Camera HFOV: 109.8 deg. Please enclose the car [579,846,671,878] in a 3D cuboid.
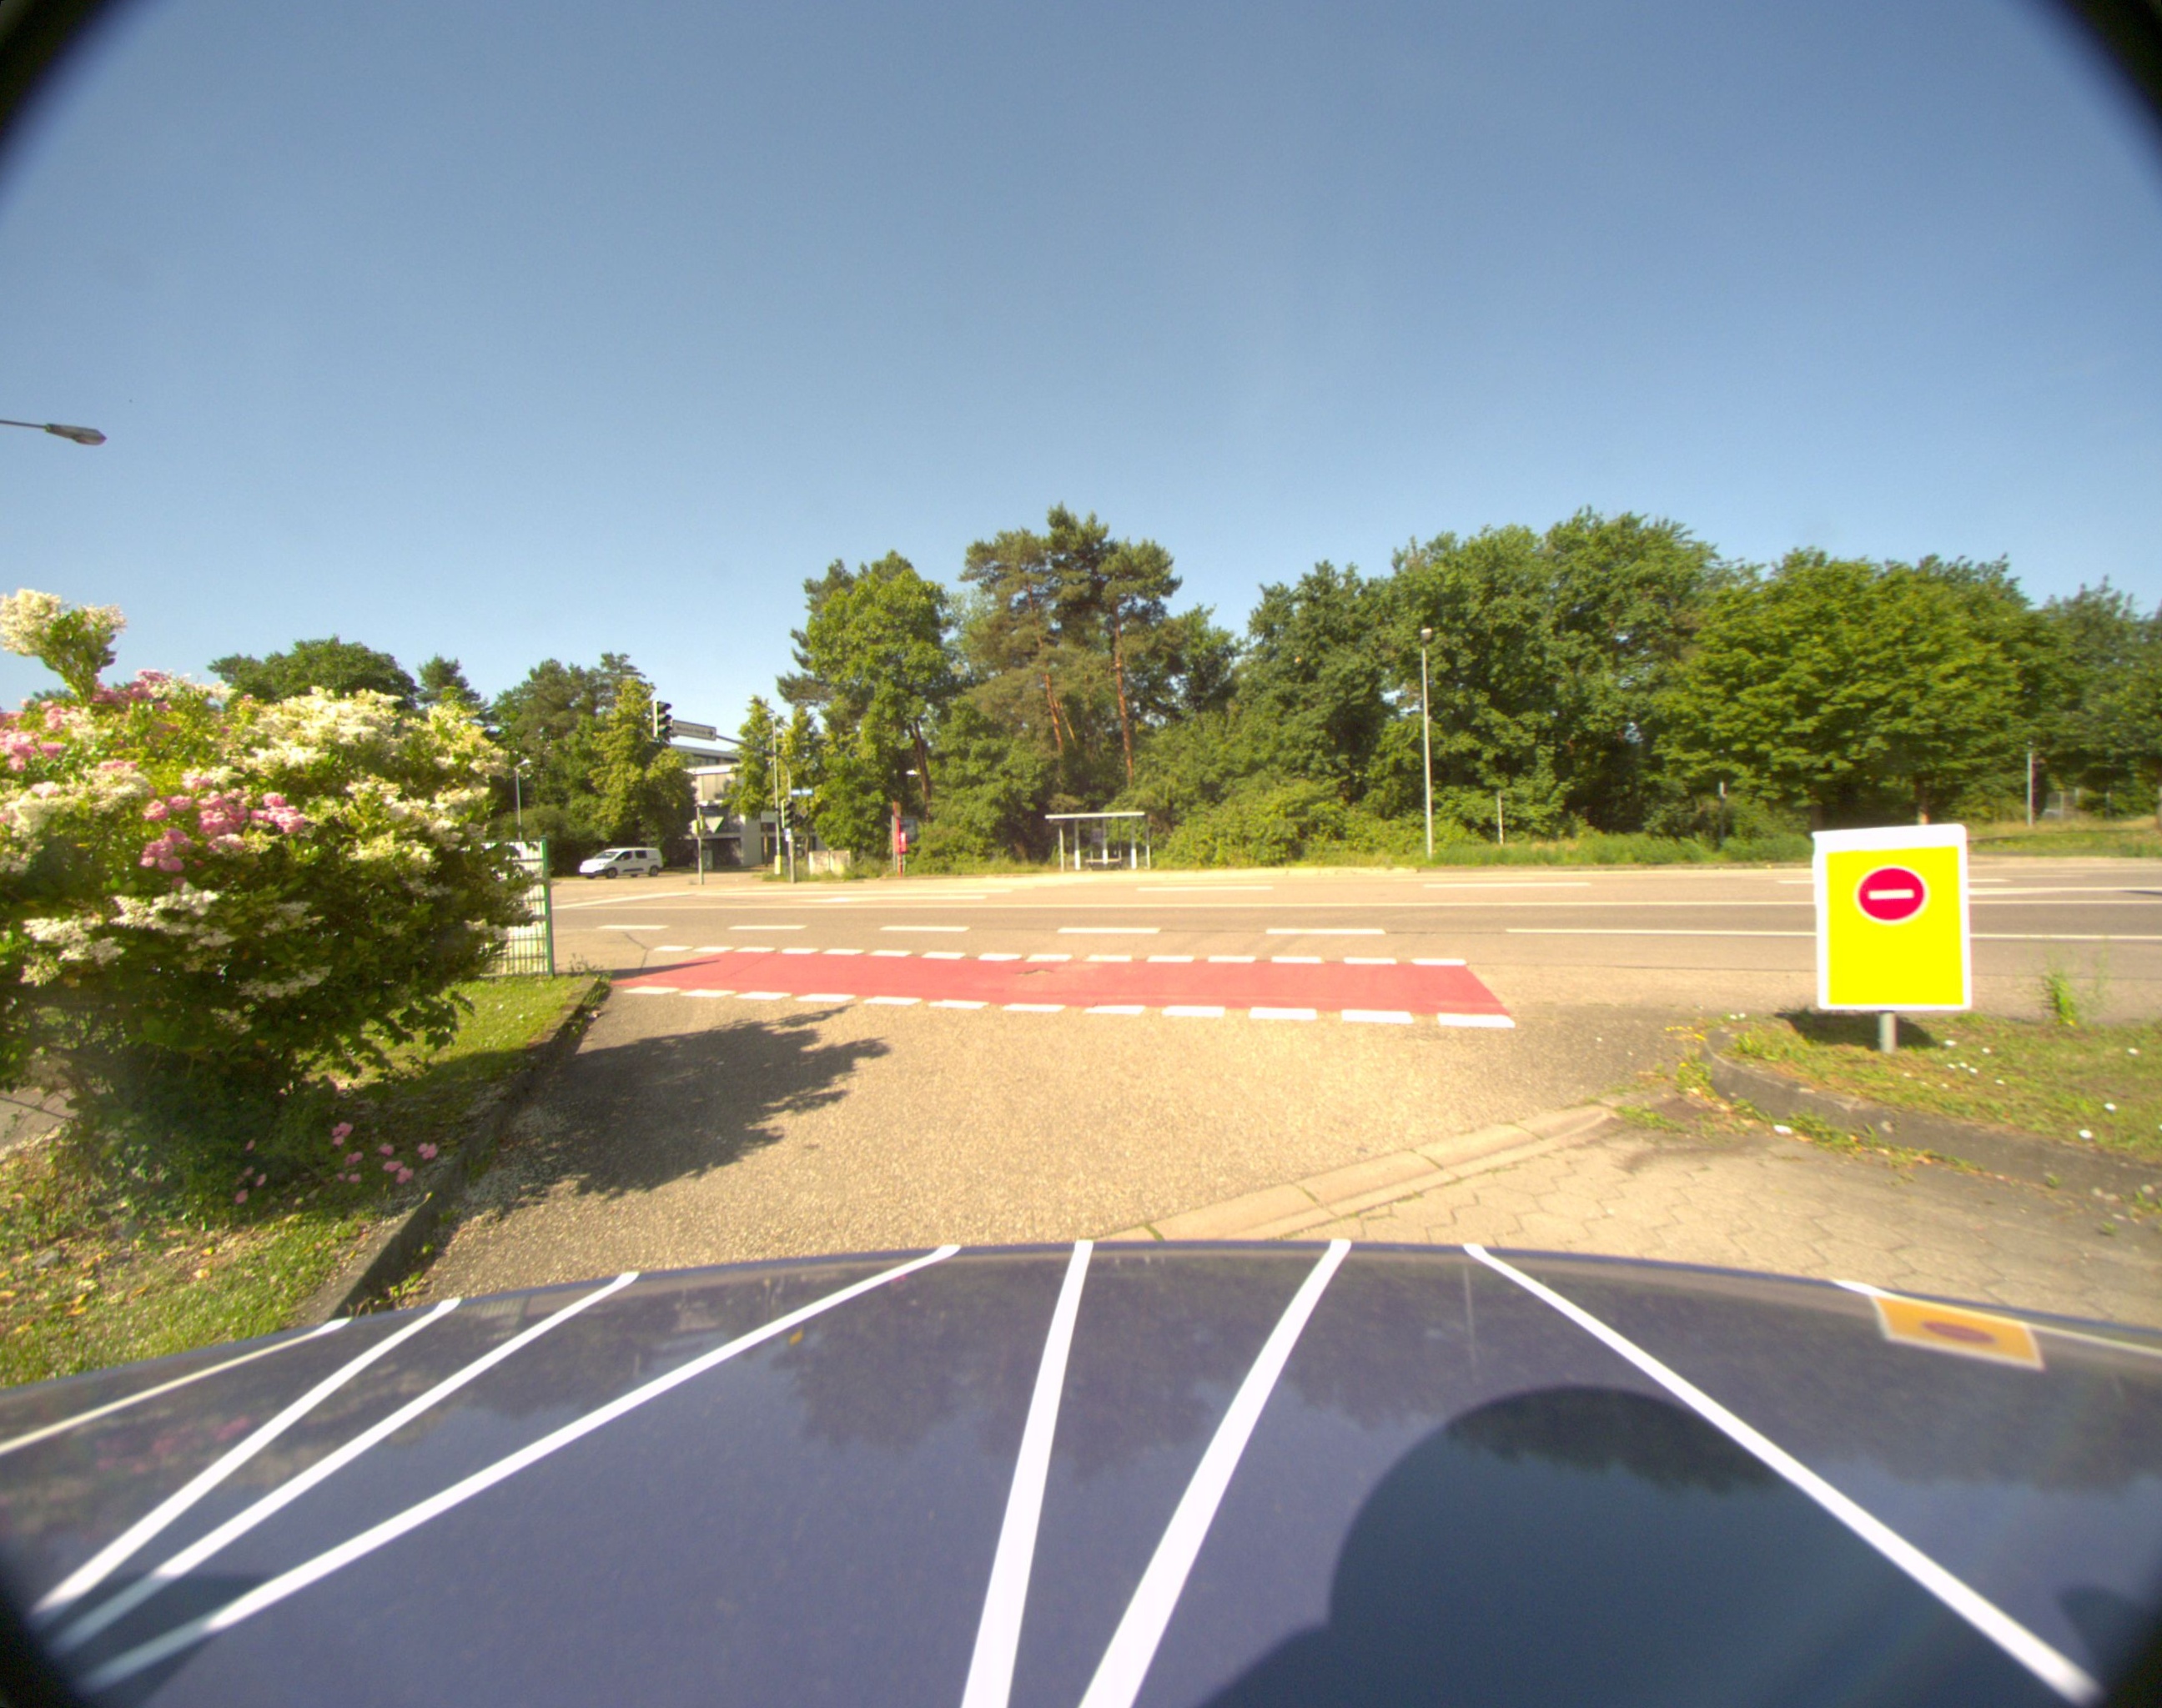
[{"bbox_3d":[-27.447,0.432,45.941,1.848,1.767,4.667,-1,1,18],"label":"car"}]
